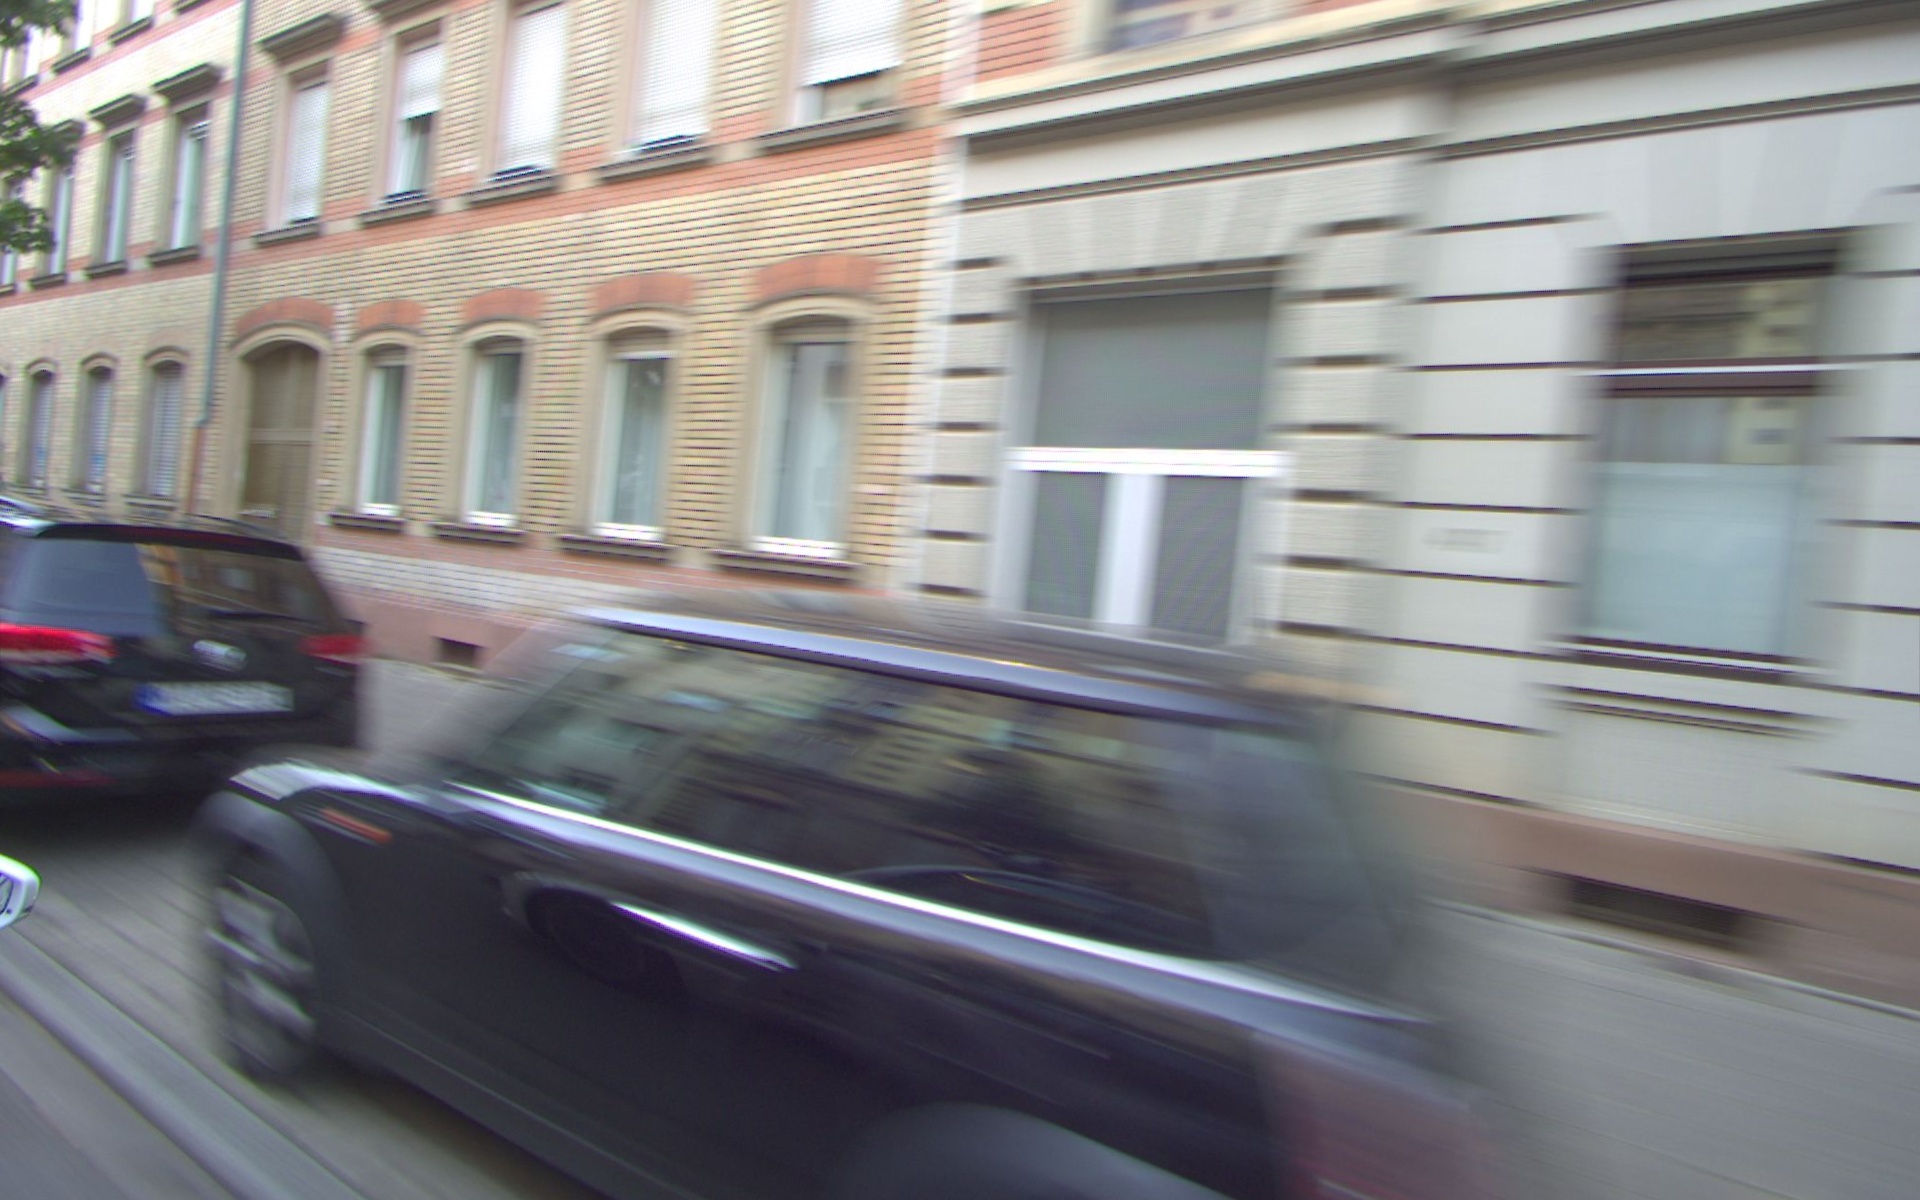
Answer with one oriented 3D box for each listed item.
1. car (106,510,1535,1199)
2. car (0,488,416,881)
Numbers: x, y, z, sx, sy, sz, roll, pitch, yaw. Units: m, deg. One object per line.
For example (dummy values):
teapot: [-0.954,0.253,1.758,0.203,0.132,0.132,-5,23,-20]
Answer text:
car: [-0.527,0.662,2.747,3.504,1.442,1.637,7,2,30]
car: [-5.064,0.144,5.425,4.399,1.434,1.766,7,3,32]
